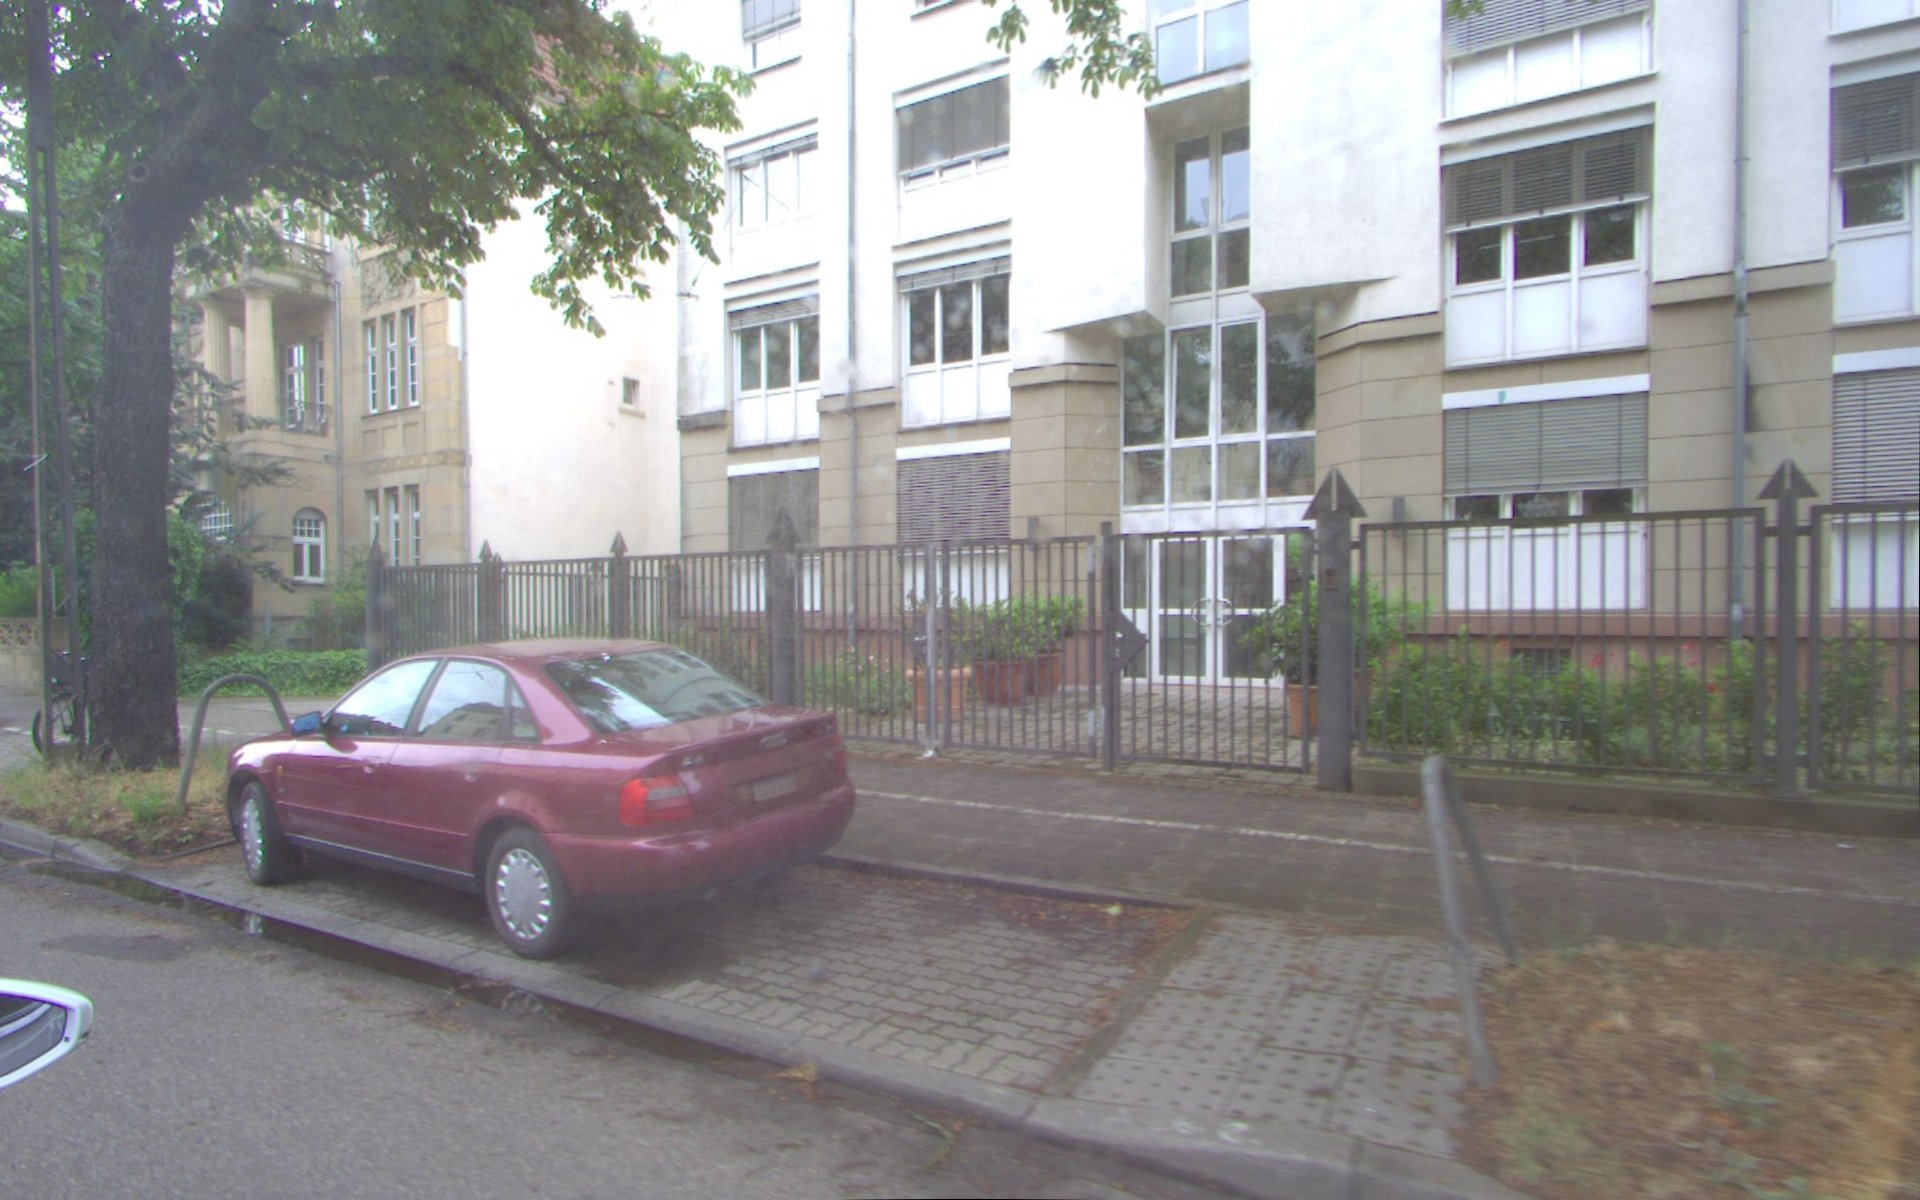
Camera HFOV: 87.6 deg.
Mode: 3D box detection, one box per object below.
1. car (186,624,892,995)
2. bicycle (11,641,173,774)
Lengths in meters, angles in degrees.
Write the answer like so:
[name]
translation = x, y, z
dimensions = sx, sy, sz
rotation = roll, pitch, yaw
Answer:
[car]
translation = -2.570, 0.895, 5.813
dimensions = 4.164, 1.418, 1.599
rotation = 0, 2, 31
[bicycle]
translation = -8.774, 1.031, 10.210
dimensions = 0.425, 1.213, 1.902
rotation = 0, -2, -14
